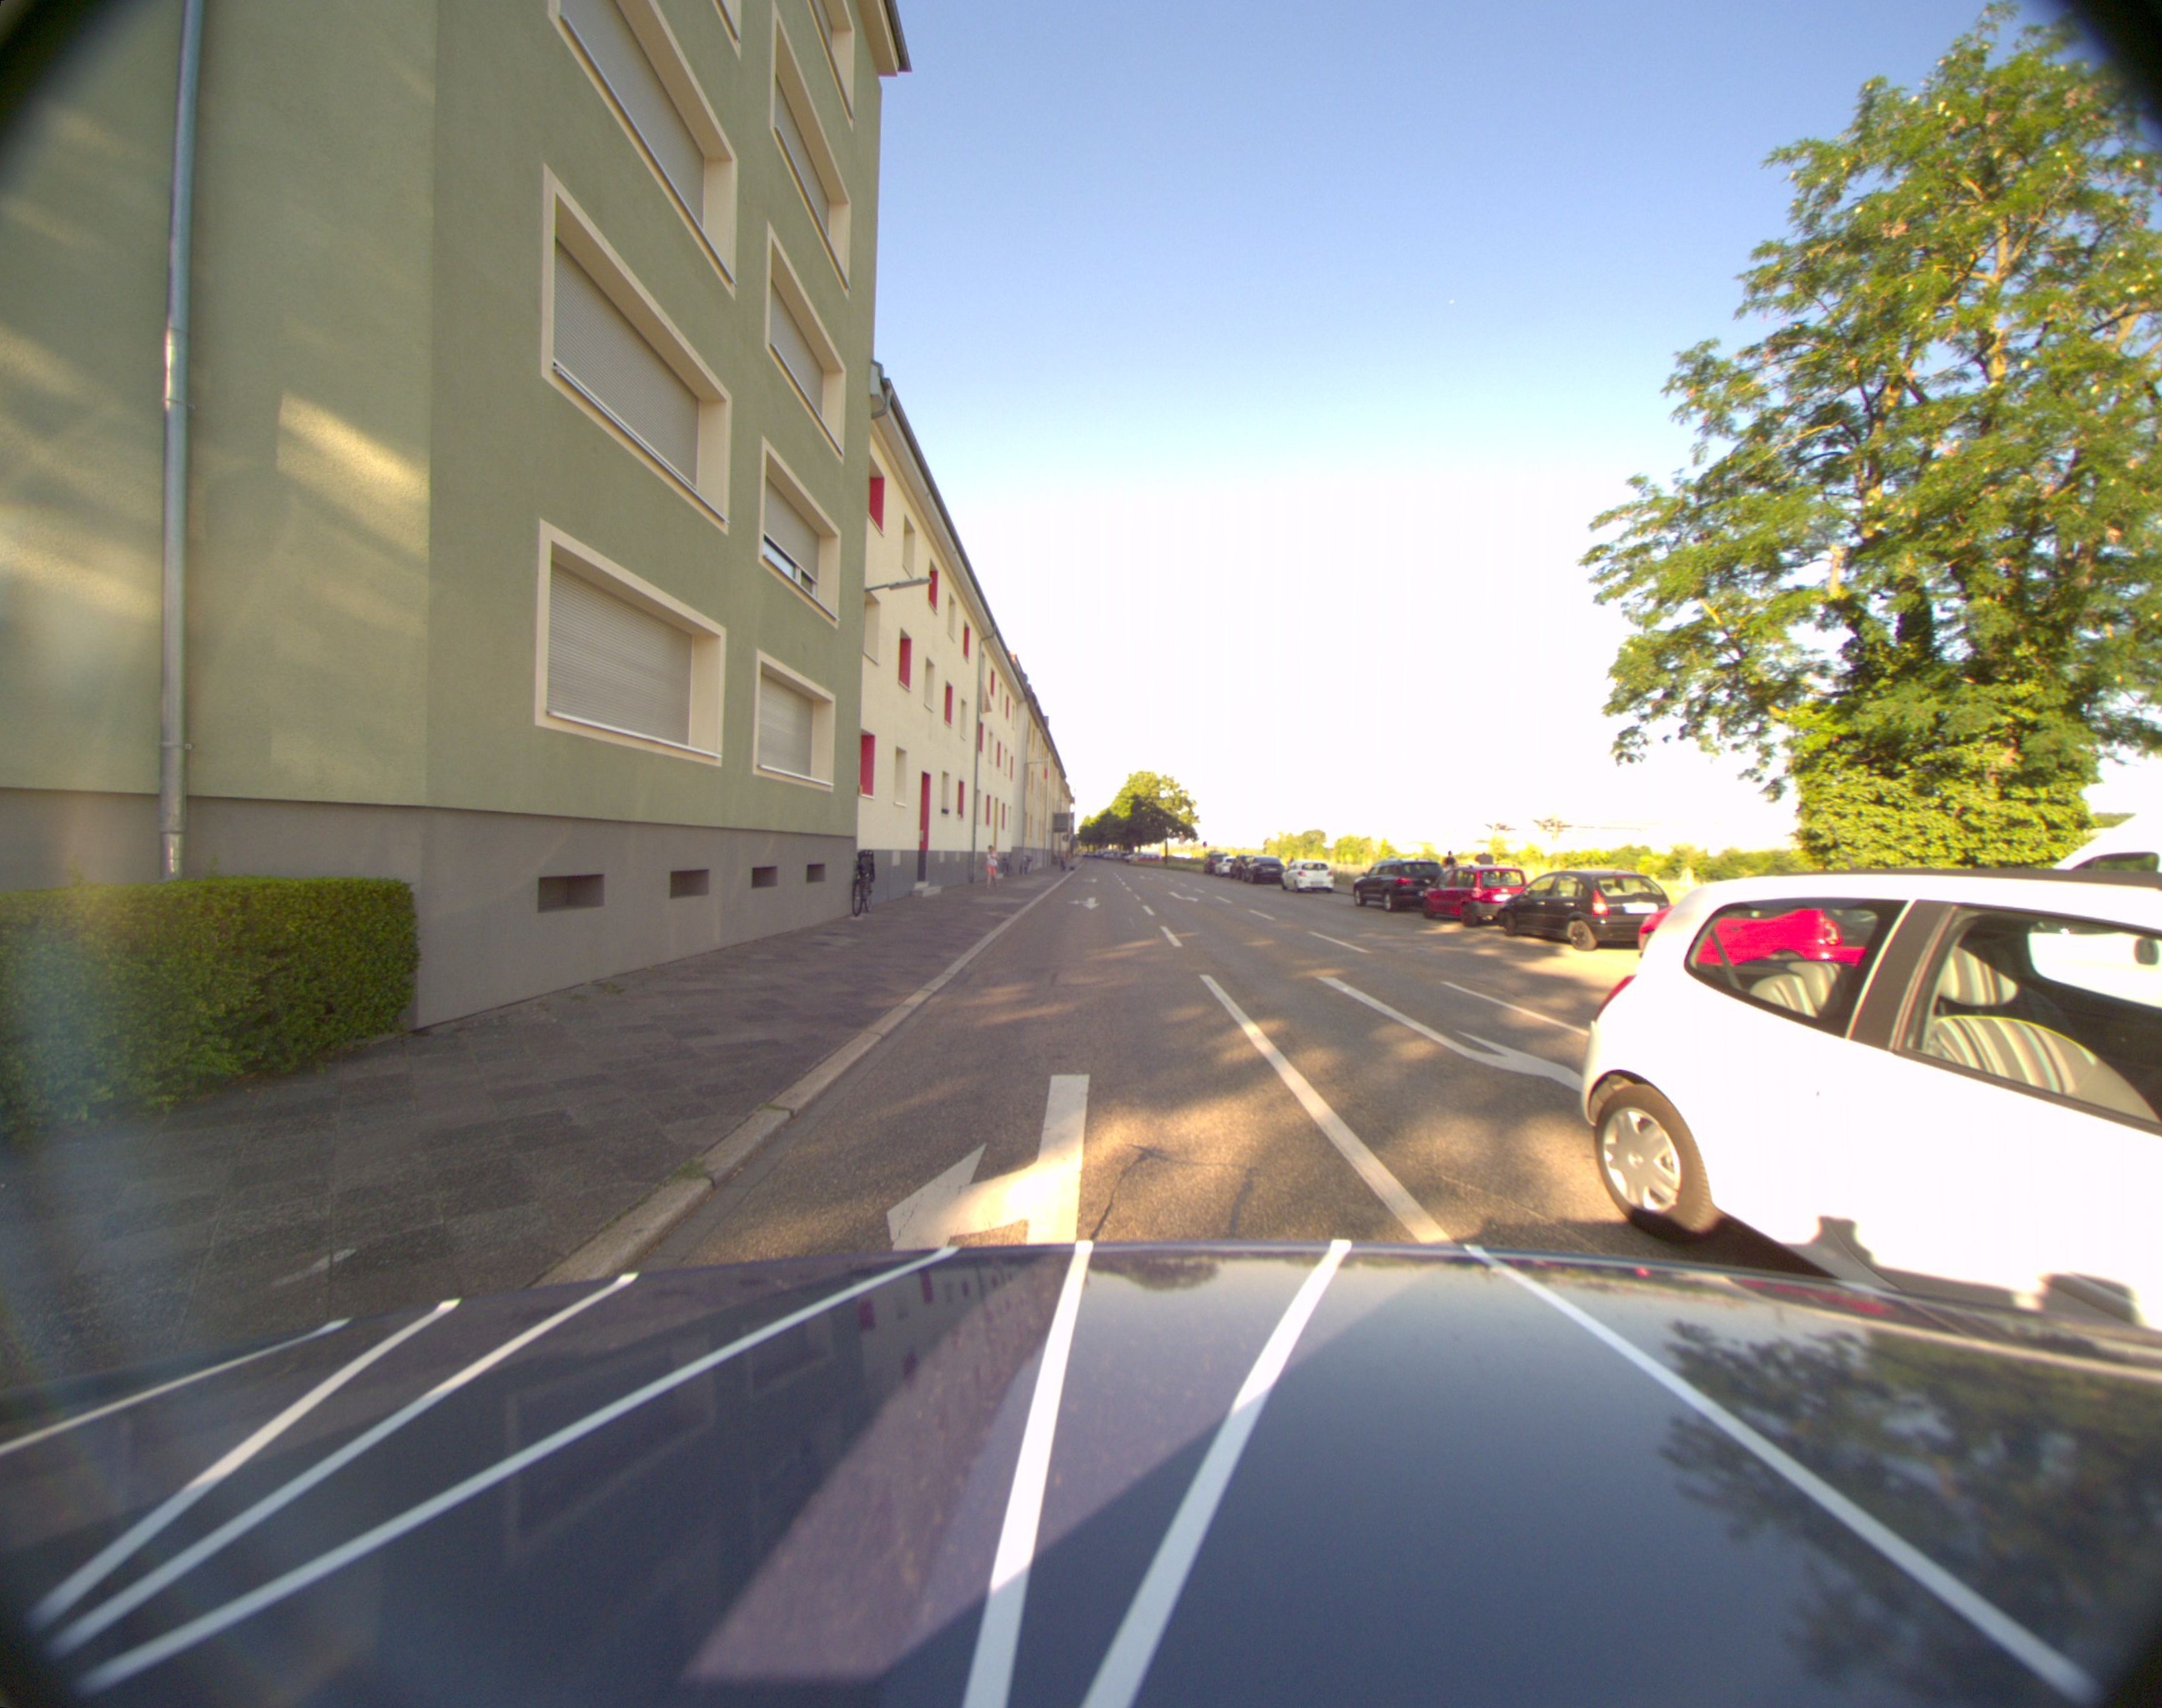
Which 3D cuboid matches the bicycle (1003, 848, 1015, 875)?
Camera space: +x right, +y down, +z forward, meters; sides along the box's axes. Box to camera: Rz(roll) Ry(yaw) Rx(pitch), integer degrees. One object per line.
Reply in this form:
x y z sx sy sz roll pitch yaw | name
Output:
-3.927 0.379 41.381 0.517 1.404 1.873 2 1 -3 | bicycle

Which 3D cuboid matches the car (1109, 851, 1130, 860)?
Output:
7.496 0.248 149.740 3.997 1.708 2.000 2 1 -1 | car

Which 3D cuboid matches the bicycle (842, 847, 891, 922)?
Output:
-4.305 0.573 15.378 0.517 1.404 1.873 2 1 -3 | bicycle

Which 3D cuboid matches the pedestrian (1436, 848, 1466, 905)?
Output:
13.156 0.786 27.030 0.615 2.002 0.730 2 1 -1 | pedestrian

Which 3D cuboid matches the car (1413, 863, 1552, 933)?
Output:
10.267 1.060 19.735 1.664 1.521 3.579 2 1 0 | car

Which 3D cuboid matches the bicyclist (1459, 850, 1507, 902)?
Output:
12.845 0.689 24.321 0.866 1.587 1.146 2 1 1 | bicyclist

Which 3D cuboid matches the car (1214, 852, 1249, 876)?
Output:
10.860 0.703 55.103 1.823 1.565 4.220 2 1 2 | car

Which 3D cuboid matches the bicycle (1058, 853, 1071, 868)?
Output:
-1.242 0.488 56.849 0.651 1.091 2.201 1 1 -8 | bicycle

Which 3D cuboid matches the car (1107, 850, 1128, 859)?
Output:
7.429 0.189 155.323 3.997 1.708 2.000 2 1 -1 | car

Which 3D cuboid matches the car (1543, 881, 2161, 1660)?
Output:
3.017 0.893 1.616 1.705 1.460 3.775 2 1 -1 | car

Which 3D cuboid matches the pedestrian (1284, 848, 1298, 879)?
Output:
13.789 0.614 49.913 0.706 2.002 0.710 2 1 2 | pedestrian

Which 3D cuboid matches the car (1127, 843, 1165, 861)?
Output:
9.529 -0.302 112.249 5.322 2.398 2.266 -2 1 0 | car

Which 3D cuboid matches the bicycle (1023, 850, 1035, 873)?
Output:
-3.157 0.429 46.314 0.517 1.318 2.210 2 1 2 | bicycle

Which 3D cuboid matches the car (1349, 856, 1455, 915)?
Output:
10.146 0.947 24.355 1.664 1.649 4.005 2 1 0 | car

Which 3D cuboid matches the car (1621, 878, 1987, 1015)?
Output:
10.072 1.176 11.049 1.745 1.478 3.694 2 1 0 | car

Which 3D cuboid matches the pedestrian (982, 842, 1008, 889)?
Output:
-3.232 0.431 28.536 0.787 1.697 0.950 3 1 1 | pedestrian

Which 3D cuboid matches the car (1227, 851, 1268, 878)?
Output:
10.854 0.679 49.710 1.823 1.628 4.220 2 1 2 | car

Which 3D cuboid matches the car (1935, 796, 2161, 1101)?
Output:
9.692 0.745 4.826 2.235 2.422 5.559 -1 1 -1 | car

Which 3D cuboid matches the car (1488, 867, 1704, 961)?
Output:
10.174 1.102 15.418 1.745 1.521 3.816 2 1 0 | car

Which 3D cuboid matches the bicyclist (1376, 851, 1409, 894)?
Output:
12.001 0.696 29.296 0.768 1.587 1.146 2 1 2 | bicyclist

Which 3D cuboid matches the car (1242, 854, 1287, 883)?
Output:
10.577 0.809 44.010 1.823 1.517 4.291 2 0 5 | car

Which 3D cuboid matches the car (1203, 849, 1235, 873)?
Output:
11.009 0.520 60.987 1.890 1.765 4.220 2 1 2 | car

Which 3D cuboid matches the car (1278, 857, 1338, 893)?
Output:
10.416 0.917 35.076 1.706 1.517 3.583 2 1 1 | car
